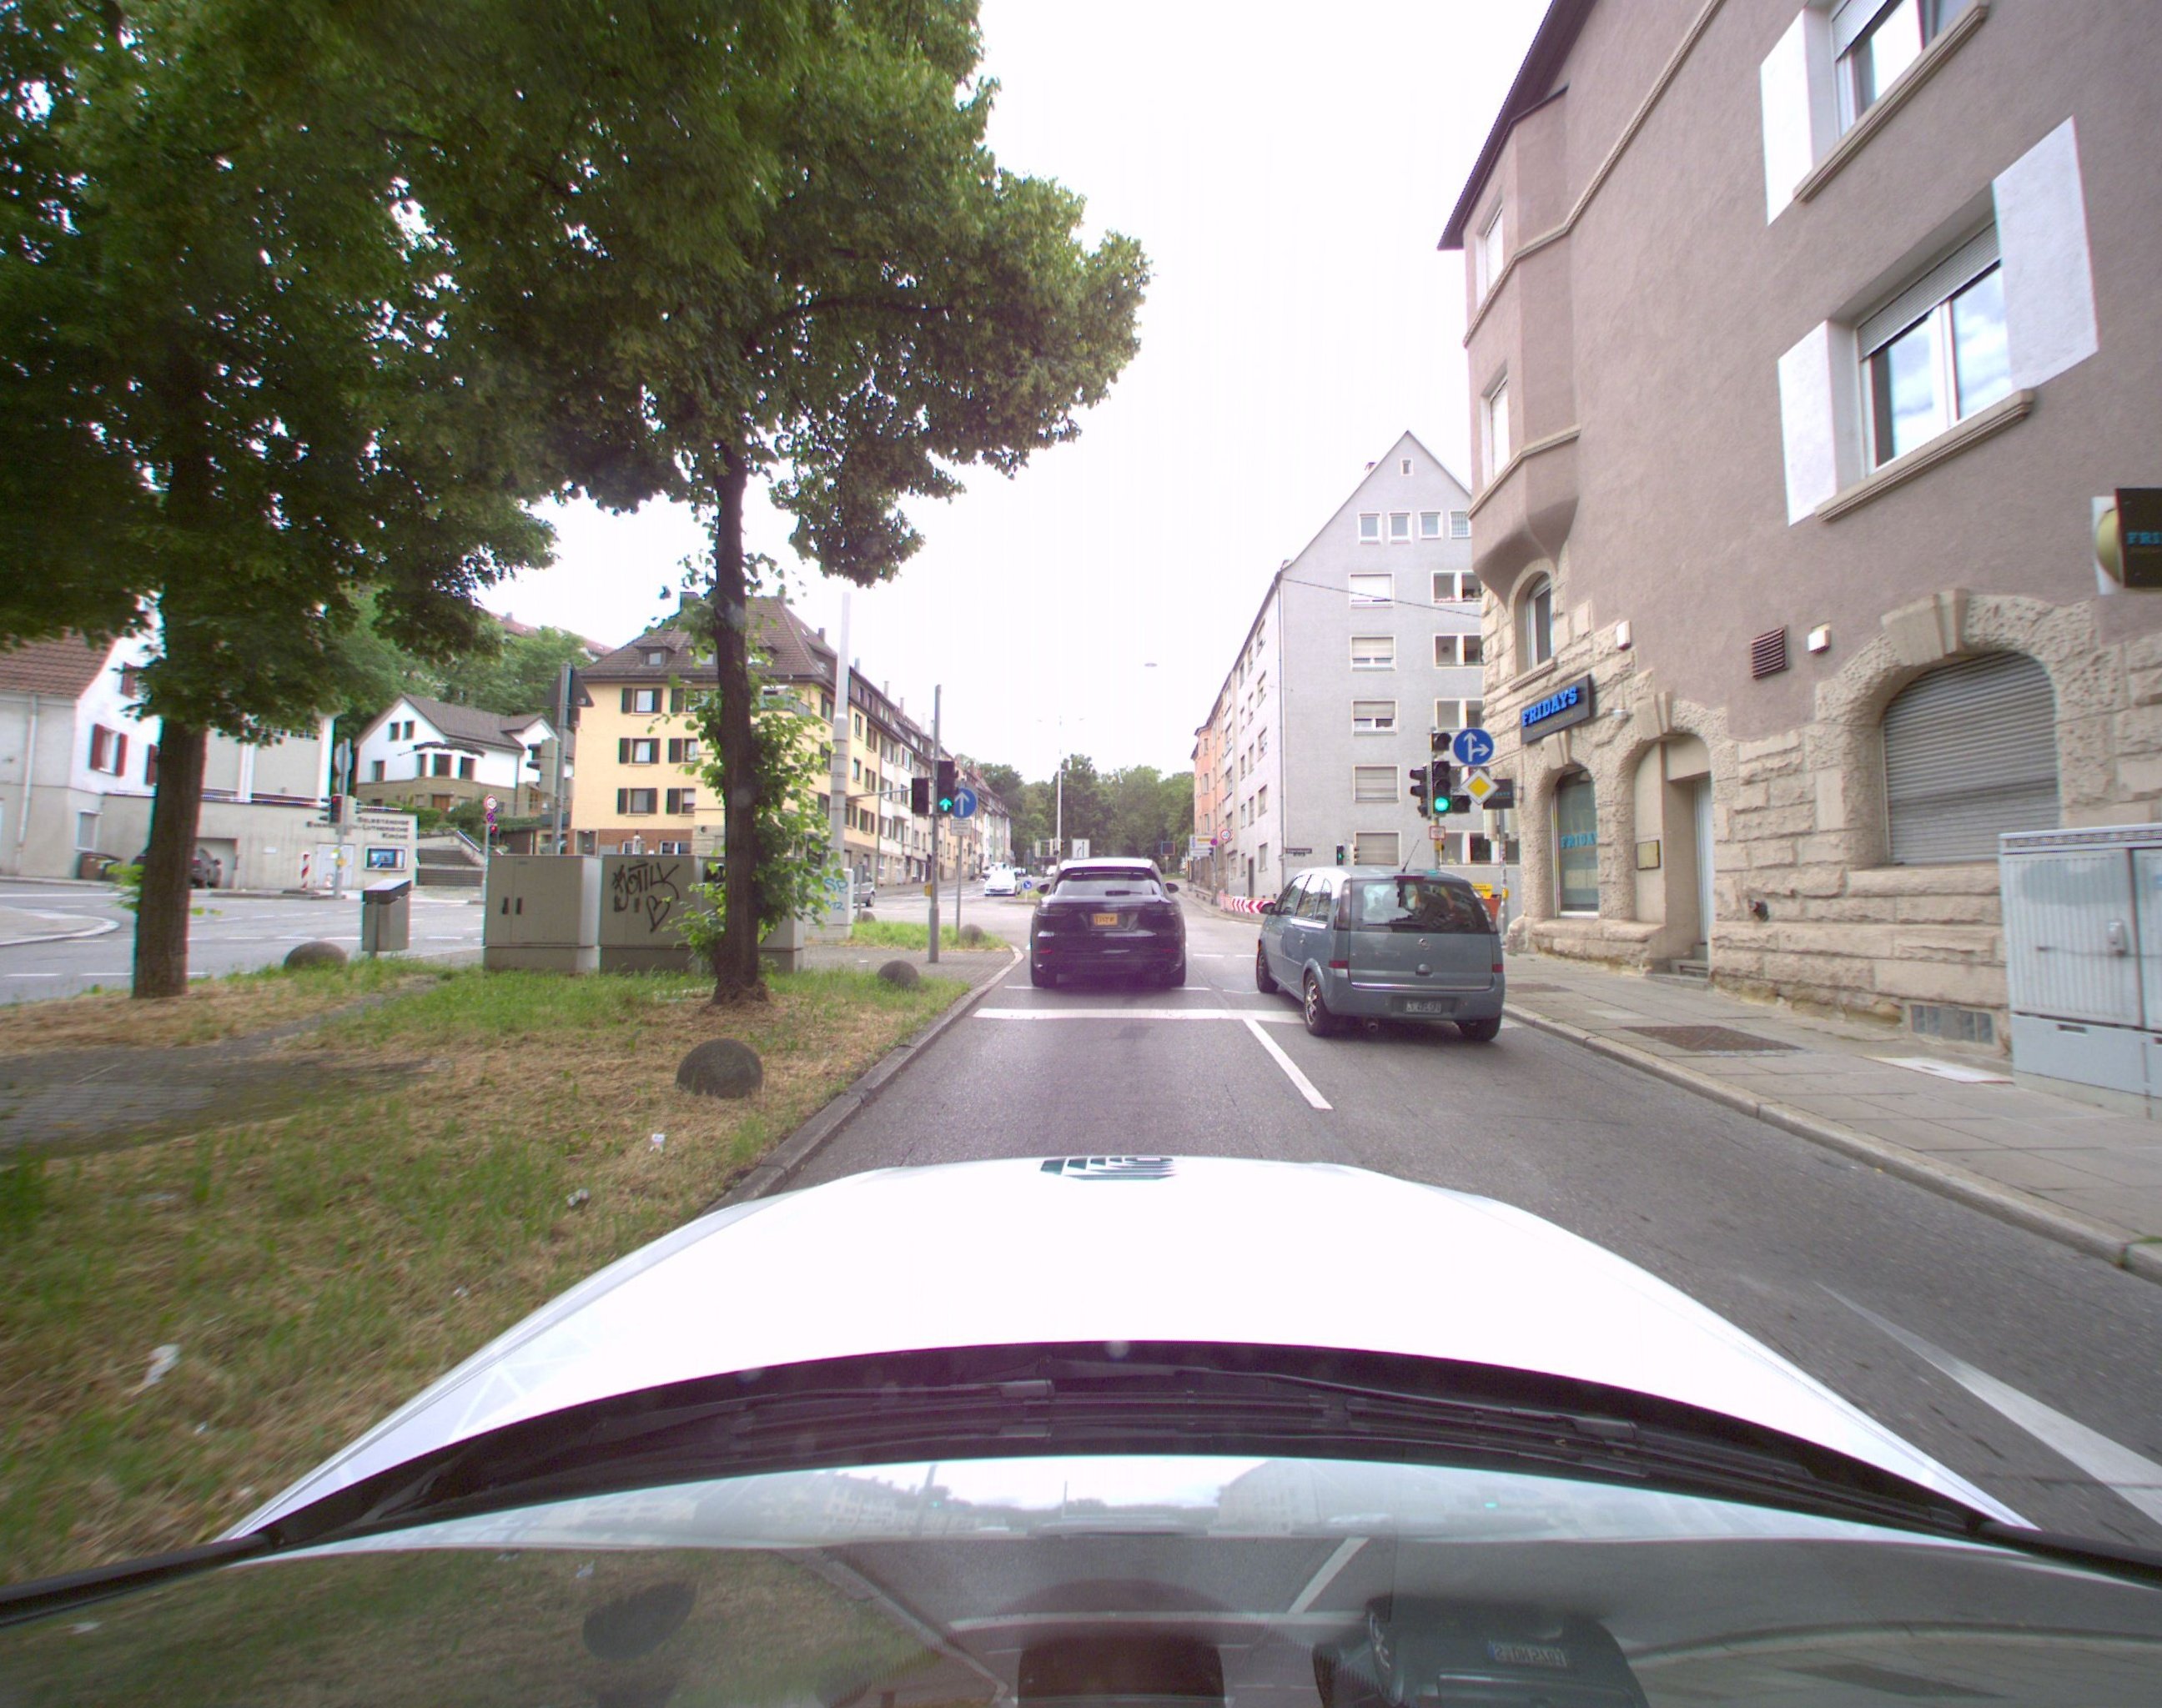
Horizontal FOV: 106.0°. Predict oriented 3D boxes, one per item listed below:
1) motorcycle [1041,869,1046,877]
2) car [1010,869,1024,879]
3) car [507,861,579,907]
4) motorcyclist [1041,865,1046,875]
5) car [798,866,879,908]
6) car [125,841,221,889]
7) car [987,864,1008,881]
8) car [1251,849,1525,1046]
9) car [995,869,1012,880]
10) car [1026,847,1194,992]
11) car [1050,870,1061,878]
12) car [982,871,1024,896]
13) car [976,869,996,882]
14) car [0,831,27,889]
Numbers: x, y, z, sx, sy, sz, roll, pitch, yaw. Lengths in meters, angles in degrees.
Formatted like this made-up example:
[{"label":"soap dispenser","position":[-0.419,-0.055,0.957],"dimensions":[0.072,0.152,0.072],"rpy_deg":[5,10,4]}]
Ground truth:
[{"label":"motorcycle","position":[-4.746,2.429,103.388],"dimensions":[0.509,1.040,1.390],"rpy_deg":[0,-1,2]},{"label":"car","position":[-9.646,3.001,122.283],"dimensions":[1.682,1.538,3.815],"rpy_deg":[0,-1,2]},{"label":"car","position":[-23.528,1.274,35.585],"dimensions":[3.476,1.596,1.881],"rpy_deg":[7,4,44]},{"label":"motorcyclist","position":[-4.749,2.074,103.358],"dimensions":[0.510,1.226,0.467],"rpy_deg":[0,-1,2]},{"label":"car","position":[-9.112,1.236,30.951],"dimensions":[1.611,1.480,3.828],"rpy_deg":[-1,-2,5]},{"label":"car","position":[-32.089,0.397,28.787],"dimensions":[3.018,1.406,1.681],"rpy_deg":[3,-4,33]},{"label":"car","position":[-10.455,2.263,101.932],"dimensions":[2.008,2.046,4.669],"rpy_deg":[0,-1,2]},{"label":"car","position":[3.008,0.824,8.788],"dimensions":[1.622,1.598,3.670],"rpy_deg":[3,-1,2]},{"label":"car","position":[-10.209,2.724,107.774],"dimensions":[1.732,1.387,3.815],"rpy_deg":[0,-1,2]},{"label":"car","position":[0.401,0.806,11.591],"dimensions":[1.948,1.674,4.001],"rpy_deg":[-1,-1,2]},{"label":"car","position":[-3.971,3.095,128.170],"dimensions":[1.545,1.257,3.664],"rpy_deg":[0,-1,2]},{"label":"car","position":[-4.532,1.703,47.810],"dimensions":[1.854,1.388,4.096],"rpy_deg":[0,-1,2]},{"label":"car","position":[-11.186,2.528,96.207],"dimensions":[1.732,1.387,3.815],"rpy_deg":[0,-1,2]},{"label":"car","position":[-28.644,-0.006,19.443],"dimensions":[3.719,1.442,1.746],"rpy_deg":[6,-4,-25]}]
